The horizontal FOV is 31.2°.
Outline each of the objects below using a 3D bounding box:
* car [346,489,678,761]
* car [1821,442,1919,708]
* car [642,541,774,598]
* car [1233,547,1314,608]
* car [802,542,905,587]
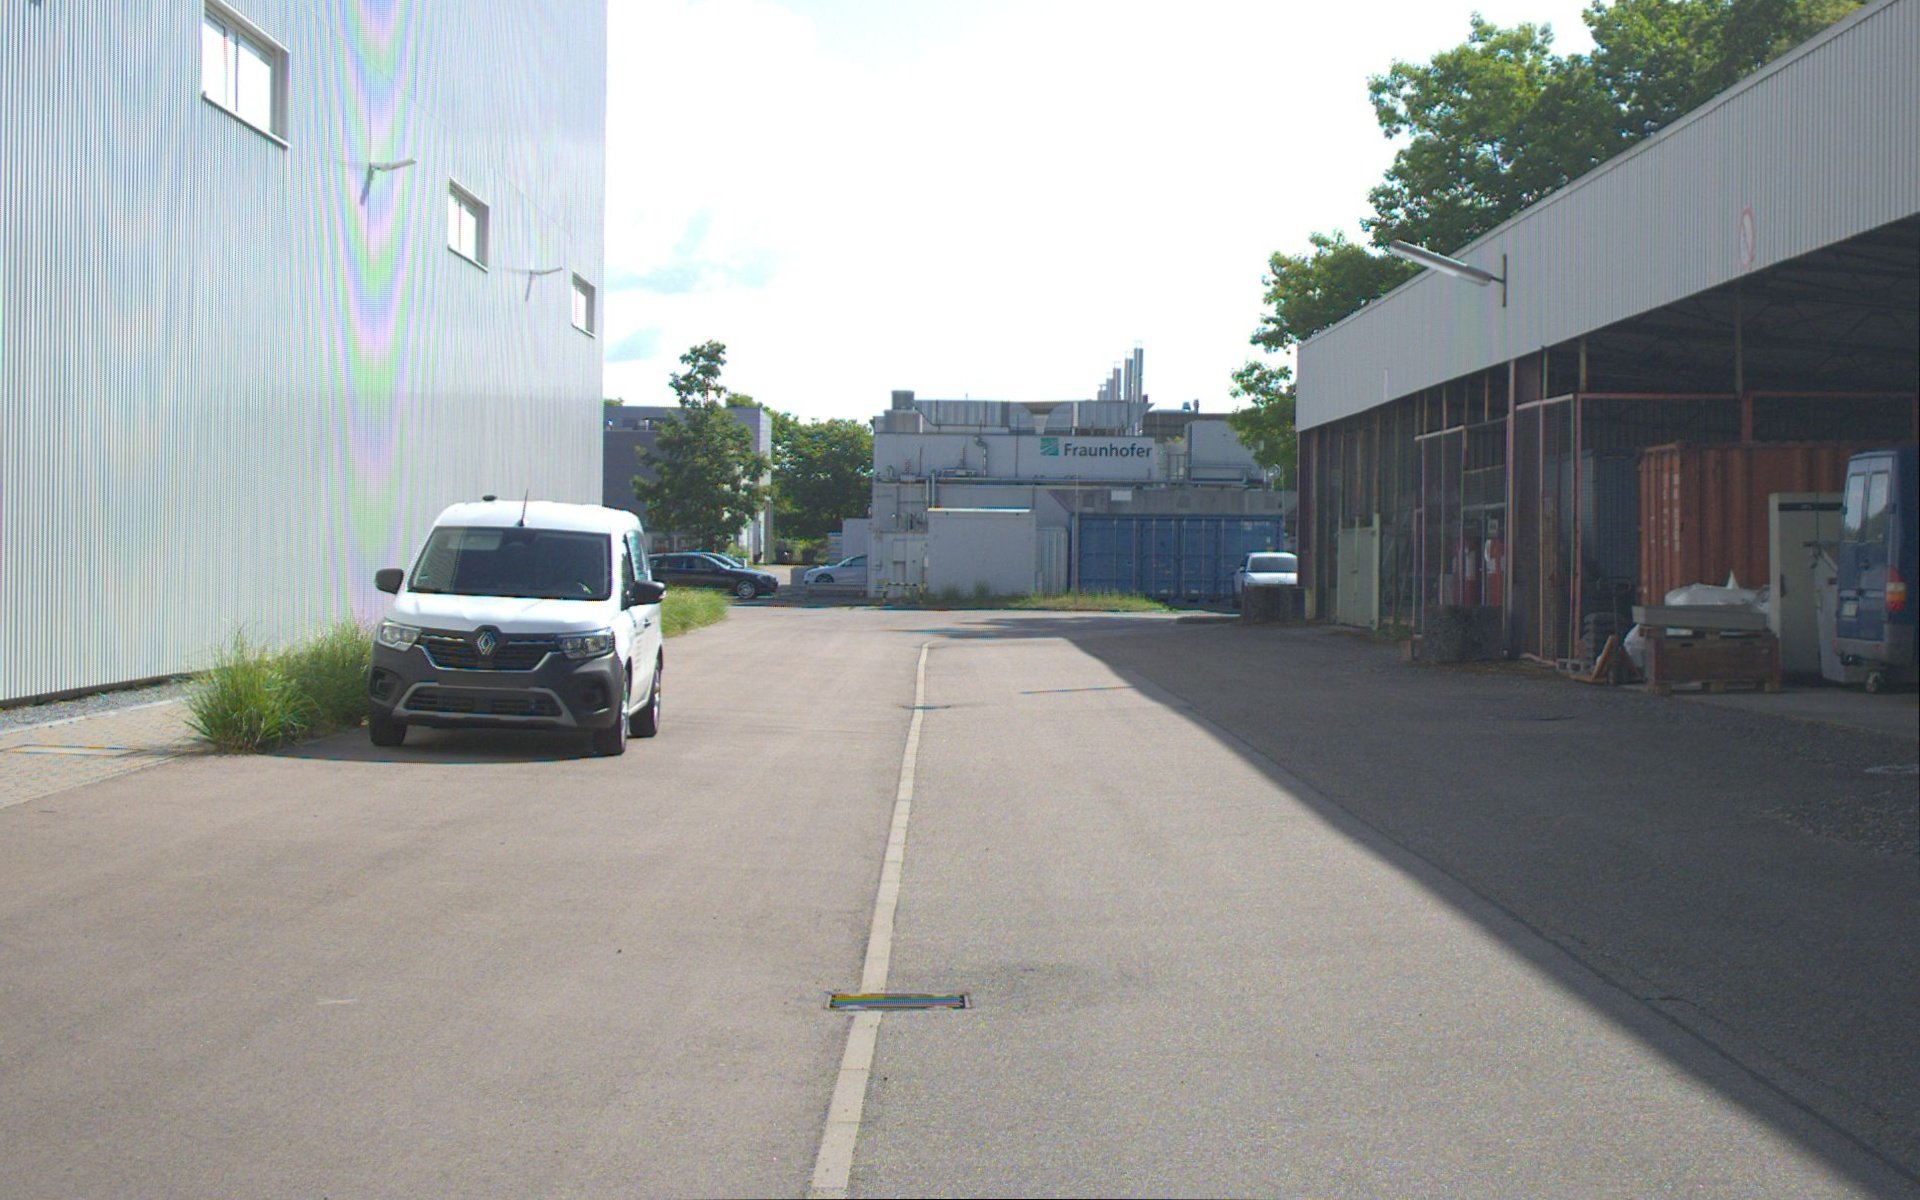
[{"bbox_3d":[-3.226,0.126,25.576,1.818,1.781,4.405,2,1,0],"label":"car"},{"bbox_3d":[10.211,-0.128,30.845,4.433,2.302,1.915,2,-1,1],"label":"car"},{"bbox_3d":[-7.892,-0.947,107.811,3.987,1.592,1.742,2,-1,-1],"label":"car"},{"bbox_3d":[8.665,-0.640,95.328,1.962,1.559,4.059,2,1,2],"label":"car"},{"bbox_3d":[-4.184,-1.390,135.675,3.987,1.592,1.848,2,-1,-1],"label":"car"}]
